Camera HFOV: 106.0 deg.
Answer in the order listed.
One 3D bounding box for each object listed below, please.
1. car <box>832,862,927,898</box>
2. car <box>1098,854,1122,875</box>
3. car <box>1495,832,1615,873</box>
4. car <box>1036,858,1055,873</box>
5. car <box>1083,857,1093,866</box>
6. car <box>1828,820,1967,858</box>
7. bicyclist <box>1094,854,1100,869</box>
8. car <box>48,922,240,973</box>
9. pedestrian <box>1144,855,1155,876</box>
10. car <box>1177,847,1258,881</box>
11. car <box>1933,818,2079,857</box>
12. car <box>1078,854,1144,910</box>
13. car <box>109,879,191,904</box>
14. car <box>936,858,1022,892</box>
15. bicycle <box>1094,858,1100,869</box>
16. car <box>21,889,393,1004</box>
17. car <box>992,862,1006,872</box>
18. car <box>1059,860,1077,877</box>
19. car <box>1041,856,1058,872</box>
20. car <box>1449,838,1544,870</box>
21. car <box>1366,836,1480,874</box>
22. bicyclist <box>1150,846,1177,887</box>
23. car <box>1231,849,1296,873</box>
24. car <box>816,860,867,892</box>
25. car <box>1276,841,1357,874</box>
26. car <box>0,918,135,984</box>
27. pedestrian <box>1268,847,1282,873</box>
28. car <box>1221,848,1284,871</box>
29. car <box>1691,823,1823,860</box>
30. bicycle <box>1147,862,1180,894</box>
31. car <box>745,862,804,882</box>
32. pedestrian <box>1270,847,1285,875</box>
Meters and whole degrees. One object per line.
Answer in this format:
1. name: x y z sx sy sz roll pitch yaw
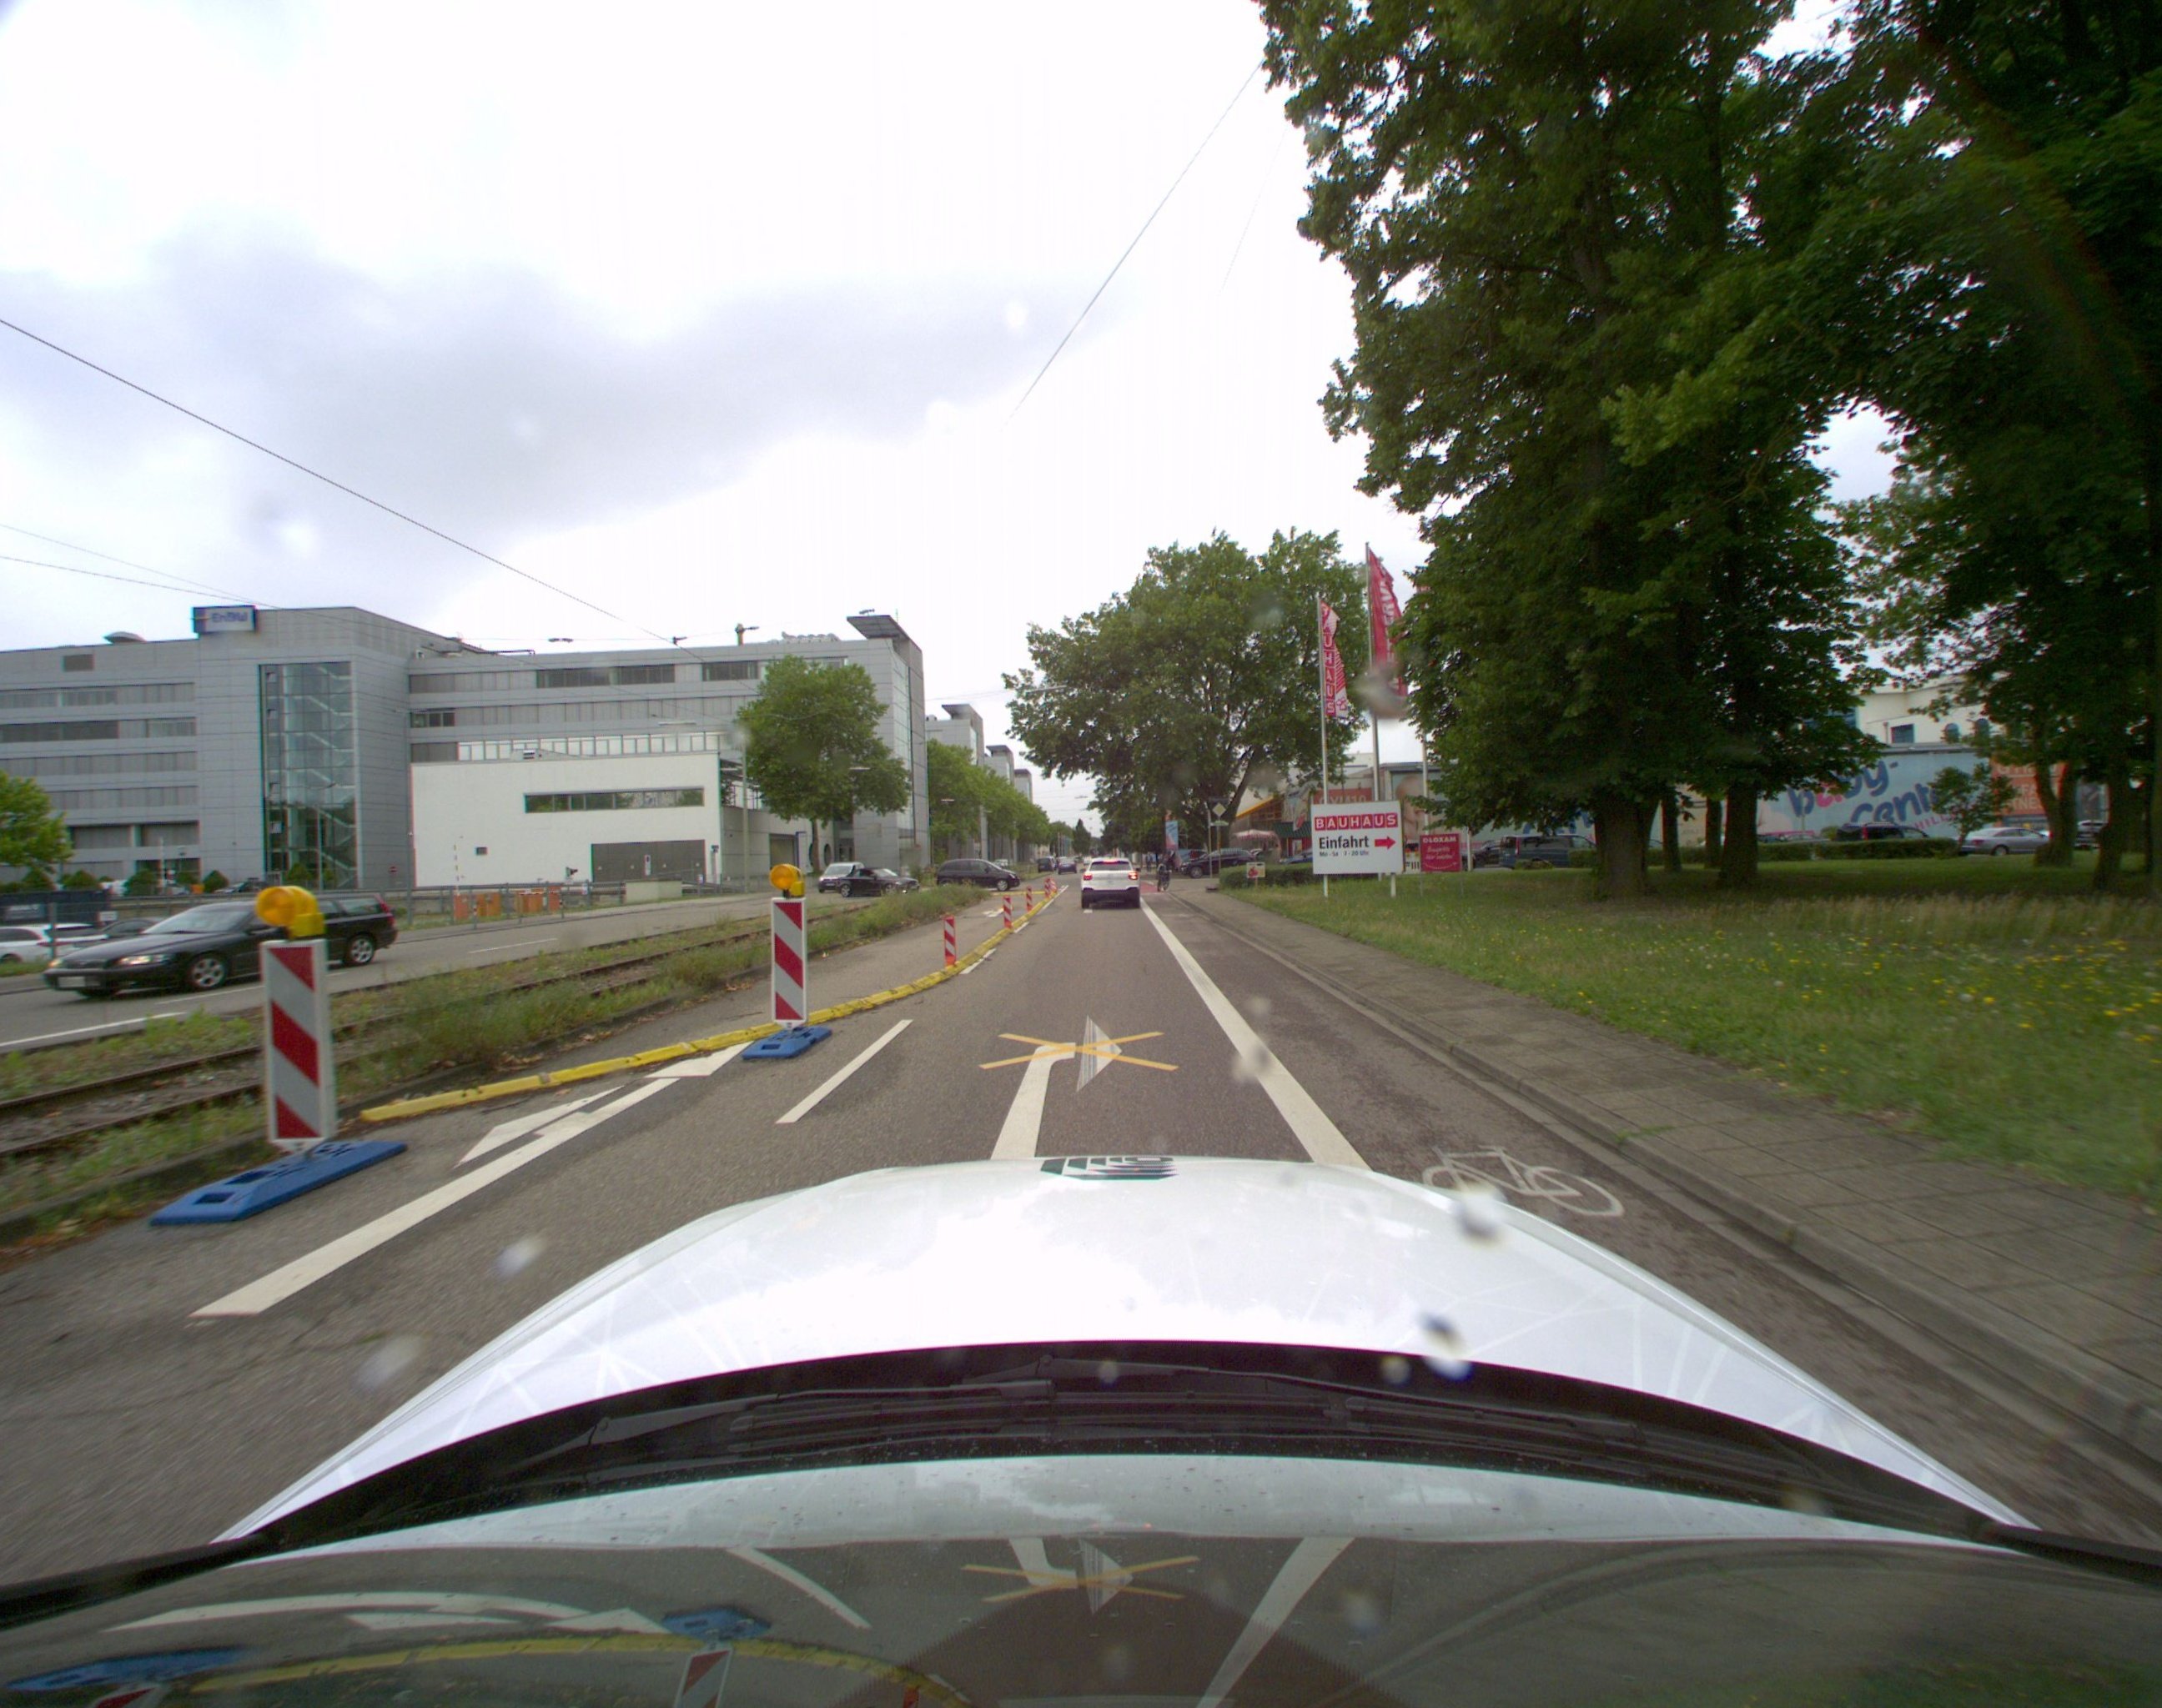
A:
1. car: -9.589 1.224 38.745 4.079 1.475 1.835 -4 -2 23
2. car: 2.448 0.907 70.124 1.871 1.632 4.000 -3 0 0
3. car: 22.668 -0.077 39.084 4.536 1.790 2.074 -2 0 1
4. car: -4.055 1.330 94.056 1.871 1.632 4.000 -3 0 0
5. car: 1.341 1.406 150.865 1.790 1.513 3.704 -1 0 -1
6. car: 39.047 -0.716 39.039 4.536 1.572 2.074 -2 -1 1
7. bicyclist: 1.964 0.937 99.032 0.669 1.815 0.759 -1 0 -2
8. car: -30.861 3.063 26.924 3.976 1.314 1.912 -2 0 -2
9. pedestrian: 5.663 0.978 67.700 0.759 1.705 0.680 -3 0 -4
10. car: 7.691 0.567 46.241 4.298 1.677 1.993 -2 -1 1
11. car: 44.106 -0.763 38.907 4.536 1.572 2.074 -2 -1 1
12. car: 0.866 0.822 25.614 1.818 1.600 3.773 -1 0 -1
13. car: -85.126 3.373 74.529 1.986 2.013 4.653 -3 0 2
14. car: -4.856 1.004 39.299 3.869 1.556 1.825 0 -1 1
15. bicycle: 1.975 1.138 98.921 0.669 1.394 2.166 -1 0 -1
16. car: -14.914 1.473 14.369 1.815 1.472 4.423 -2 0 -2
17. car: -13.909 2.193 138.251 1.871 1.632 4.205 -3 0 0
18. car: -1.244 1.347 78.105 1.679 1.513 3.704 -1 0 -1
19. car: -3.834 1.231 99.872 1.871 1.763 4.000 -3 0 0
20. car: 24.368 0.003 47.891 4.532 1.677 2.084 -2 0 4
21. car: 16.251 0.054 38.865 4.536 1.572 1.993 -2 -1 1
22. bicyclist: 3.425 0.509 33.831 0.810 1.630 1.240 -3 -1 17
23. car: 13.097 0.490 58.478 4.201 1.551 1.789 -2 -1 -2
24. car: -14.331 1.278 48.914 1.815 1.783 4.423 -2 0 -2
25. car: 13.466 0.224 46.792 4.188 1.677 1.998 -3 -1 9
26. car: -30.770 2.826 23.515 4.514 1.634 1.912 -2 0 -2
27. pedestrian: 12.630 0.388 53.097 0.677 1.705 0.598 -3 0 -1
28. car: 12.729 0.415 60.630 4.201 1.551 1.789 -2 -1 -2
29. car: 32.493 -0.587 39.244 4.536 1.572 2.074 -2 -1 1
30. bicycle: 3.446 0.956 33.829 0.810 1.212 2.695 -3 0 17
31. car: -27.032 1.562 71.886 4.499 1.670 1.824 0 -1 -2
32. pedestrian: 12.141 0.437 50.400 0.677 1.705 0.598 -3 0 -1
